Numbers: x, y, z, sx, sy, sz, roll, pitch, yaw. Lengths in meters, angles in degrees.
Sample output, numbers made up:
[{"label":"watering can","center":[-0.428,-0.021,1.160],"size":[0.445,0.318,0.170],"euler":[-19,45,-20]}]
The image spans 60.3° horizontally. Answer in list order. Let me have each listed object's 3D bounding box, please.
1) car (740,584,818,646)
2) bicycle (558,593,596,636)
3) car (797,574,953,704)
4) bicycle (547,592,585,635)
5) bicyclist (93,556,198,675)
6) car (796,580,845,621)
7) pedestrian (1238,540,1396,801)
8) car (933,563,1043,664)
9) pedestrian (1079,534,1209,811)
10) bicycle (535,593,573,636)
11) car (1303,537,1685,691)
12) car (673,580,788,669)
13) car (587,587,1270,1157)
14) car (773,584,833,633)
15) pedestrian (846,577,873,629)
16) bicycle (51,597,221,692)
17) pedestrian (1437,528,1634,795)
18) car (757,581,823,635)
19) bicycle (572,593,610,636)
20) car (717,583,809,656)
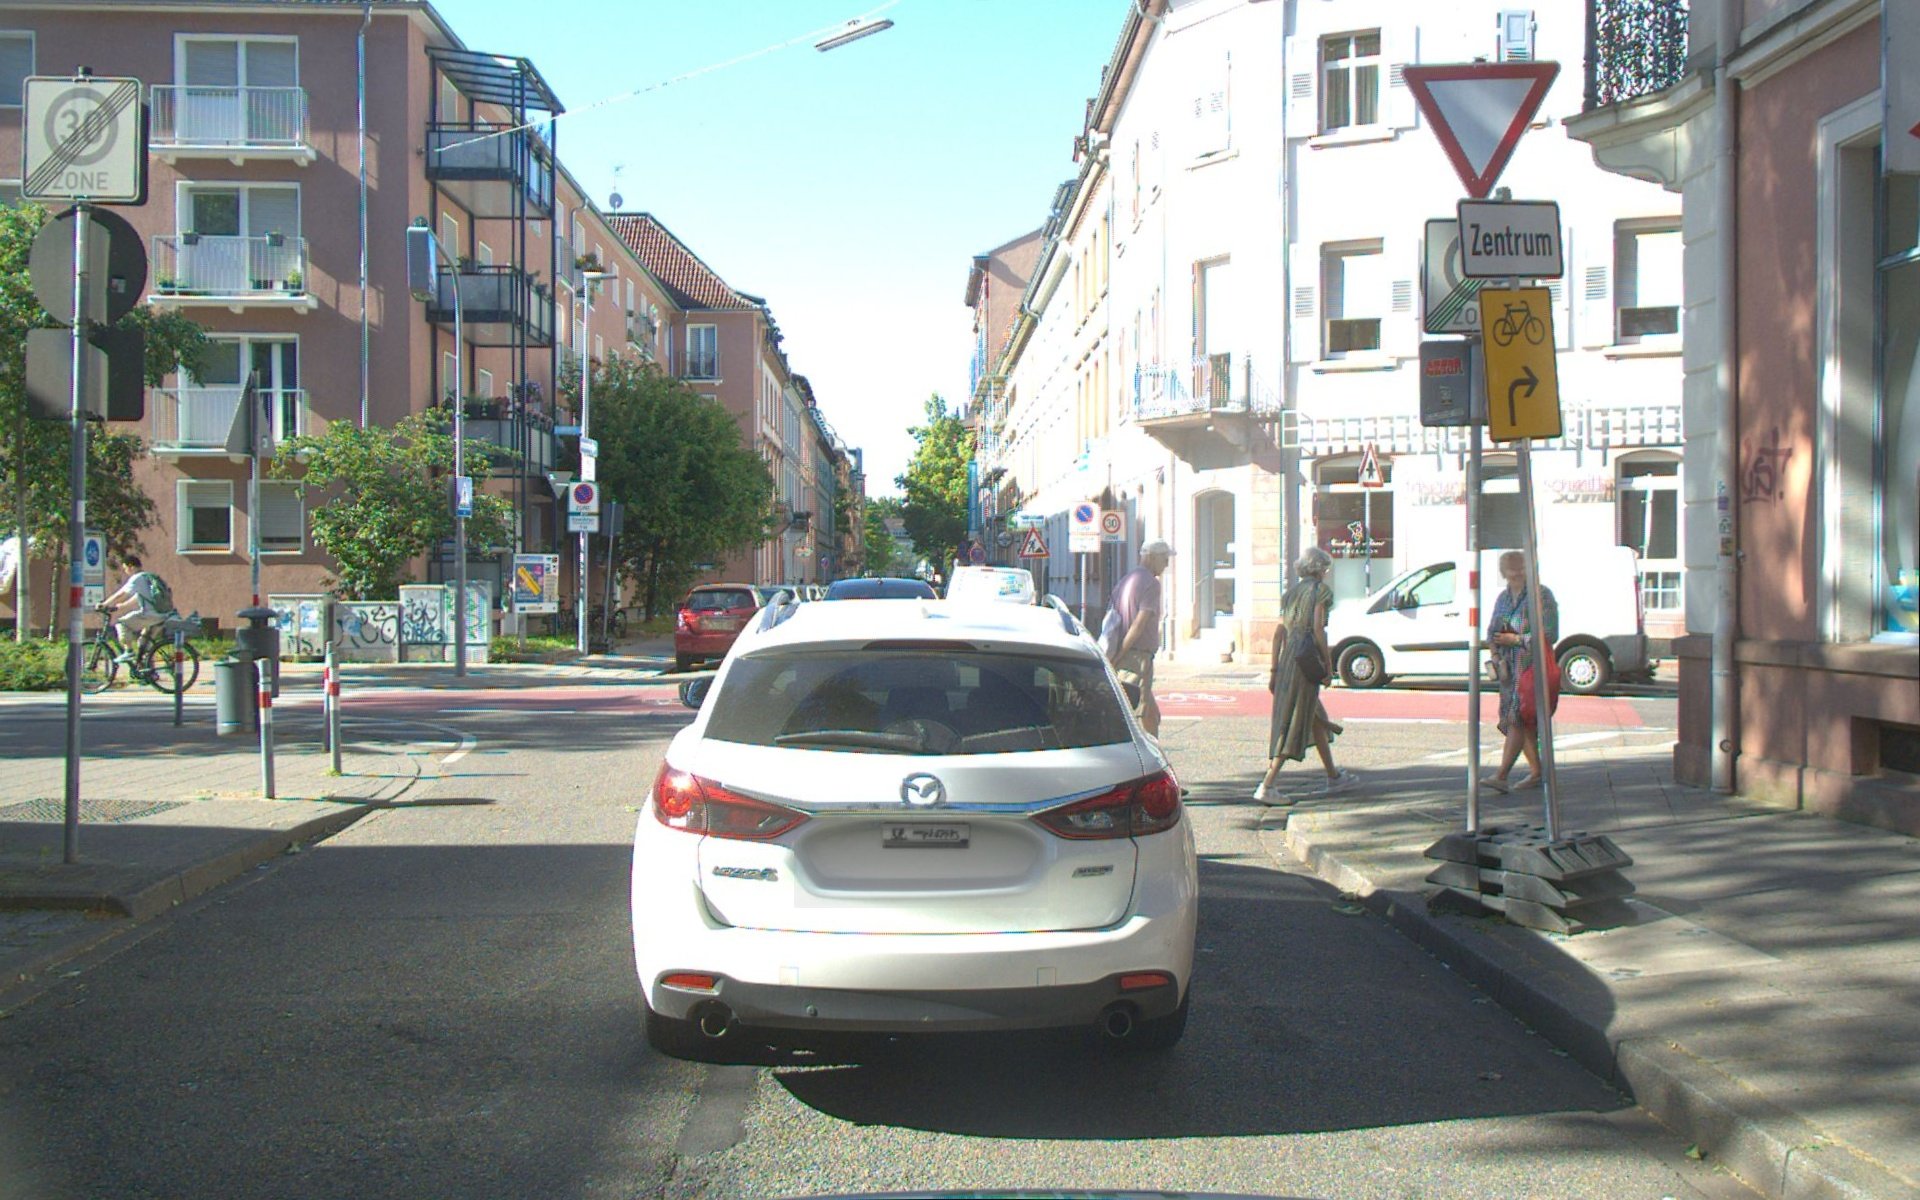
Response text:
[{"label":"car","center":[-4.569,0.346,42.184],"size":[1.620,1.526,3.762],"euler":[0,0,-1]},{"label":"bicycle","center":[-9.855,0.376,42.575],"size":[1.193,1.090,0.252],"euler":[0,0,38]},{"label":"car","center":[-0.970,0.408,20.458],"size":[1.725,1.434,4.327],"euler":[0,0,-1]},{"label":"bicycle","center":[-10.084,0.349,42.312],"size":[1.193,1.089,0.252],"euler":[0,0,38]},{"label":"bicyclist","center":[-10.759,0.195,21.872],"size":[1.021,1.545,0.738],"euler":[0,0,-1]},{"label":"car","center":[-5.315,0.019,63.475],"size":[1.620,1.526,3.762],"euler":[0,0,-1]},{"label":"pedestrian","center":[2.458,0.486,11.473],"size":[0.819,1.696,0.626],"euler":[-4,-3,-1]},{"label":"car","center":[0.511,0.241,34.683],"size":[1.857,1.891,5.011],"euler":[2,0,-4]},{"label":"pedestrian","center":[1.233,0.471,11.244],"size":[0.734,1.795,0.830],"euler":[1,0,-1]},{"label":"bicycle","center":[-10.317,0.362,42.040],"size":[1.193,1.091,0.265],"euler":[0,0,38]},{"label":"car","center":[7.452,0.167,23.201],"size":[4.907,1.980,2.051],"euler":[0,0,22]},{"label":"car","center":[-4.220,0.416,30.941],"size":[1.650,1.526,3.806],"euler":[-1,0,-1]},{"label":"car","center":[-0.108,0.697,6.336],"size":[1.794,1.482,3.961],"euler":[0,1,-1]},{"label":"car","center":[-5.017,0.254,53.206],"size":[1.620,1.526,3.762],"euler":[0,0,-1]},{"label":"pedestrian","center":[-3.248,0.099,53.382],"size":[0.720,1.642,0.813],"euler":[-1,0,-14]},{"label":"bicycle","center":[-10.834,0.579,21.791],"size":[1.907,1.219,0.630],"euler":[0,0,-1]},{"label":"pedestrian","center":[3.738,0.388,10.810],"size":[0.827,1.600,0.846],"euler":[-5,0,-3]},{"label":"car","center":[-4.968,0.201,48.731],"size":[1.620,1.526,3.762],"euler":[0,0,-1]},{"label":"bicycle","center":[-9.529,0.363,42.725],"size":[1.196,1.090,0.252],"euler":[0,0,38]},{"label":"car","center":[-4.357,0.393,36.993],"size":[1.620,1.526,4.079],"euler":[0,0,-1]}]
